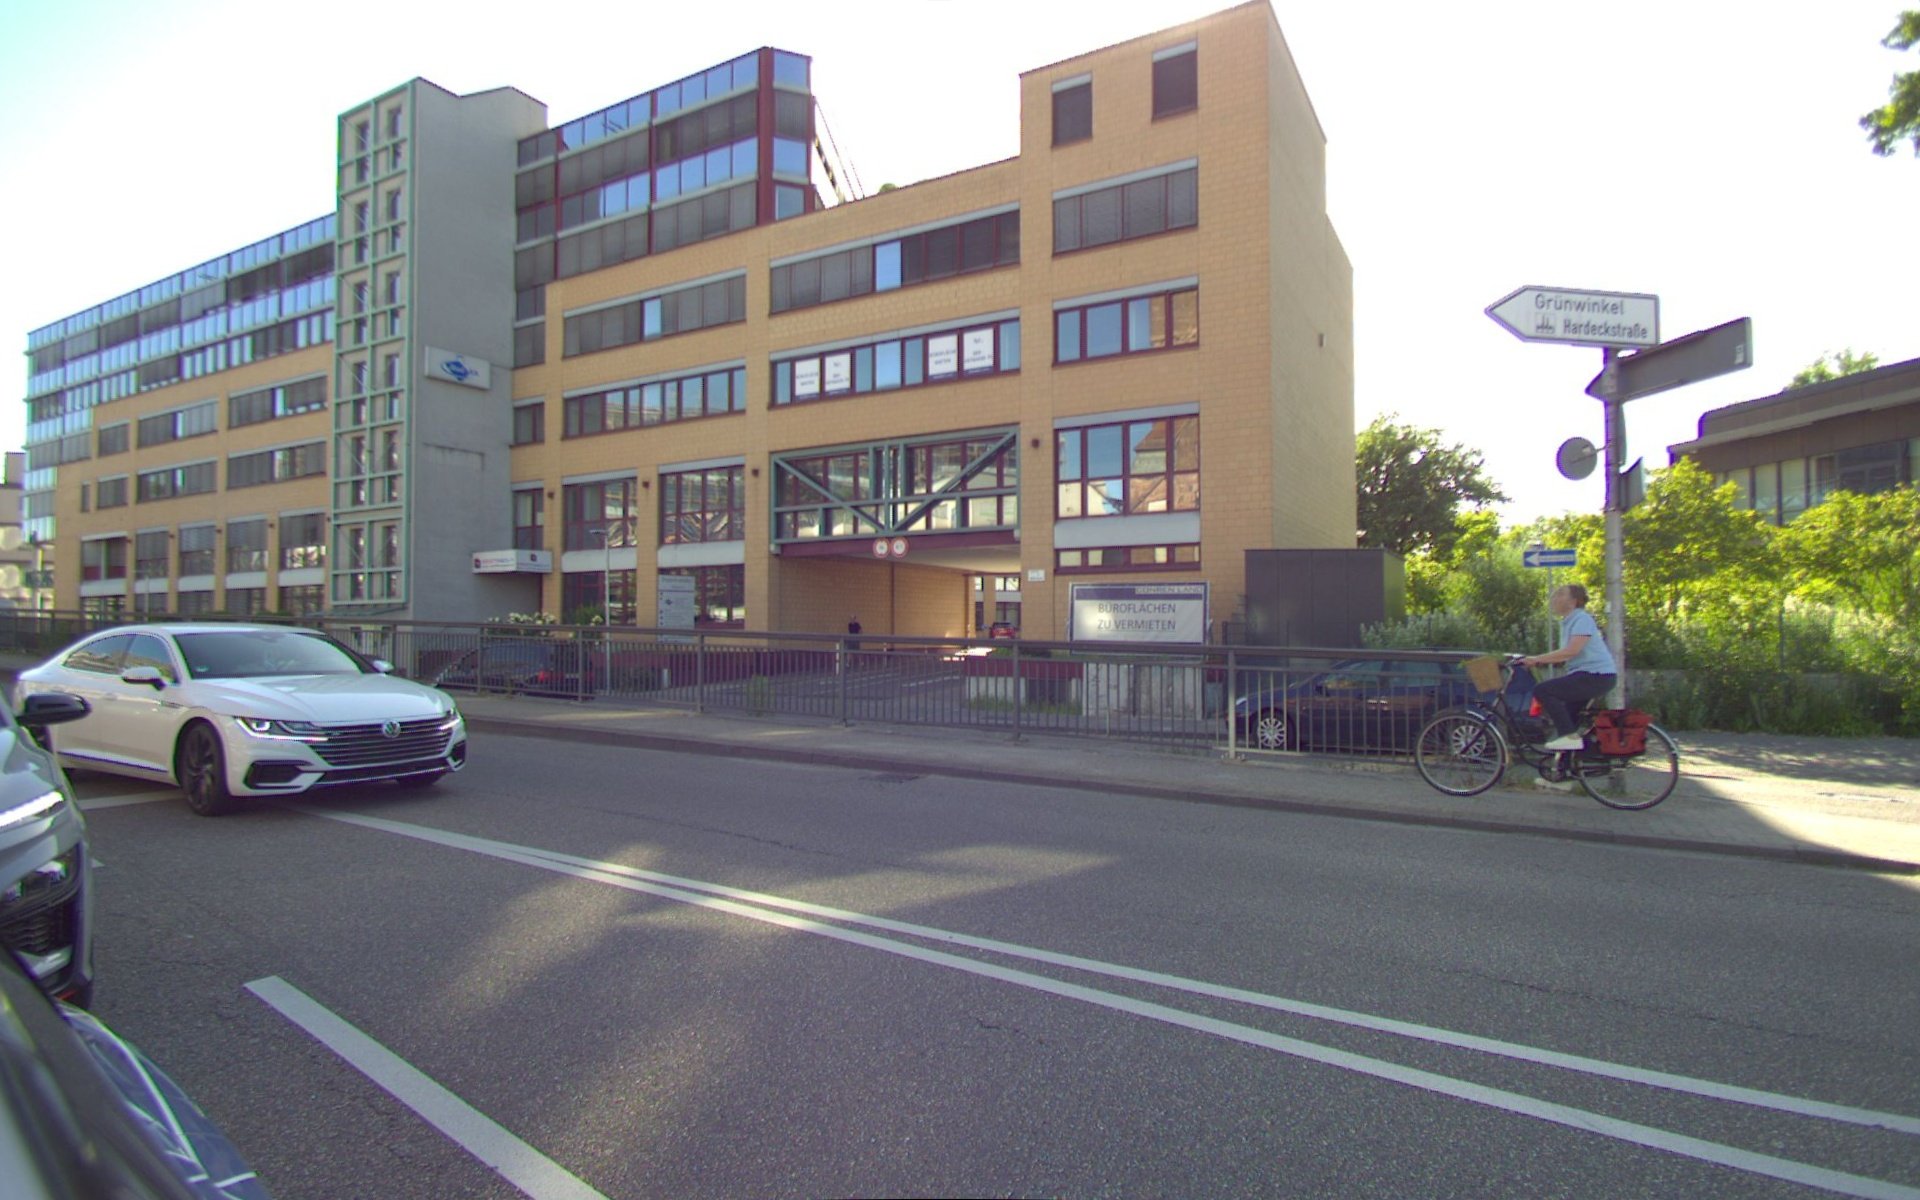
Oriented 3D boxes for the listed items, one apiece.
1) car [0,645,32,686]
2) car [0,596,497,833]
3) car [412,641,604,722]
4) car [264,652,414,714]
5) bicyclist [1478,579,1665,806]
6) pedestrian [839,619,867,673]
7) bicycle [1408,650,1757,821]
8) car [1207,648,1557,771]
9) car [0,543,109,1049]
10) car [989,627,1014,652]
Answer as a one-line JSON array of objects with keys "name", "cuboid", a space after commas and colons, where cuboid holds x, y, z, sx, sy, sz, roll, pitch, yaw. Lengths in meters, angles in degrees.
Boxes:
[{"name": "car", "cuboid": [-41.495, 2.784, 43.108, 3.988, 1.674, 1.977, -1, -3, 33]}, {"name": "car", "cuboid": [-6.220, 0.768, 8.644, 4.489, 1.547, 1.832, 1, 0, 29]}, {"name": "car", "cuboid": [-11.161, 1.928, 24.954, 4.667, 1.771, 1.938, -1, -1, 29]}, {"name": "car", "cuboid": [-17.749, 2.309, 28.874, 4.340, 1.616, 1.807, -1, -3, 30]}, {"name": "bicyclist", "cuboid": [4.916, 0.708, 8.221, 1.190, 1.714, 0.683, 0, -2, 24]}, {"name": "pedestrian", "cuboid": [-3.745, 1.597, 35.451, 0.676, 1.858, 0.779, -2, -3, 28]}, {"name": "bicycle", "cuboid": [4.911, 1.030, 8.213, 2.313, 1.211, 0.683, 0, -2, 24]}, {"name": "car", "cuboid": [6.052, 1.467, 14.707, 4.438, 1.515, 1.805, -2, -3, 33]}, {"name": "car", "cuboid": [-5.010, 0.622, 4.068, 4.219, 1.582, 1.825, -1, -1, 41]}, {"name": "car", "cuboid": [2.737, 2.601, 66.744, 1.621, 1.586, 3.150, -1, -2, 2]}]
